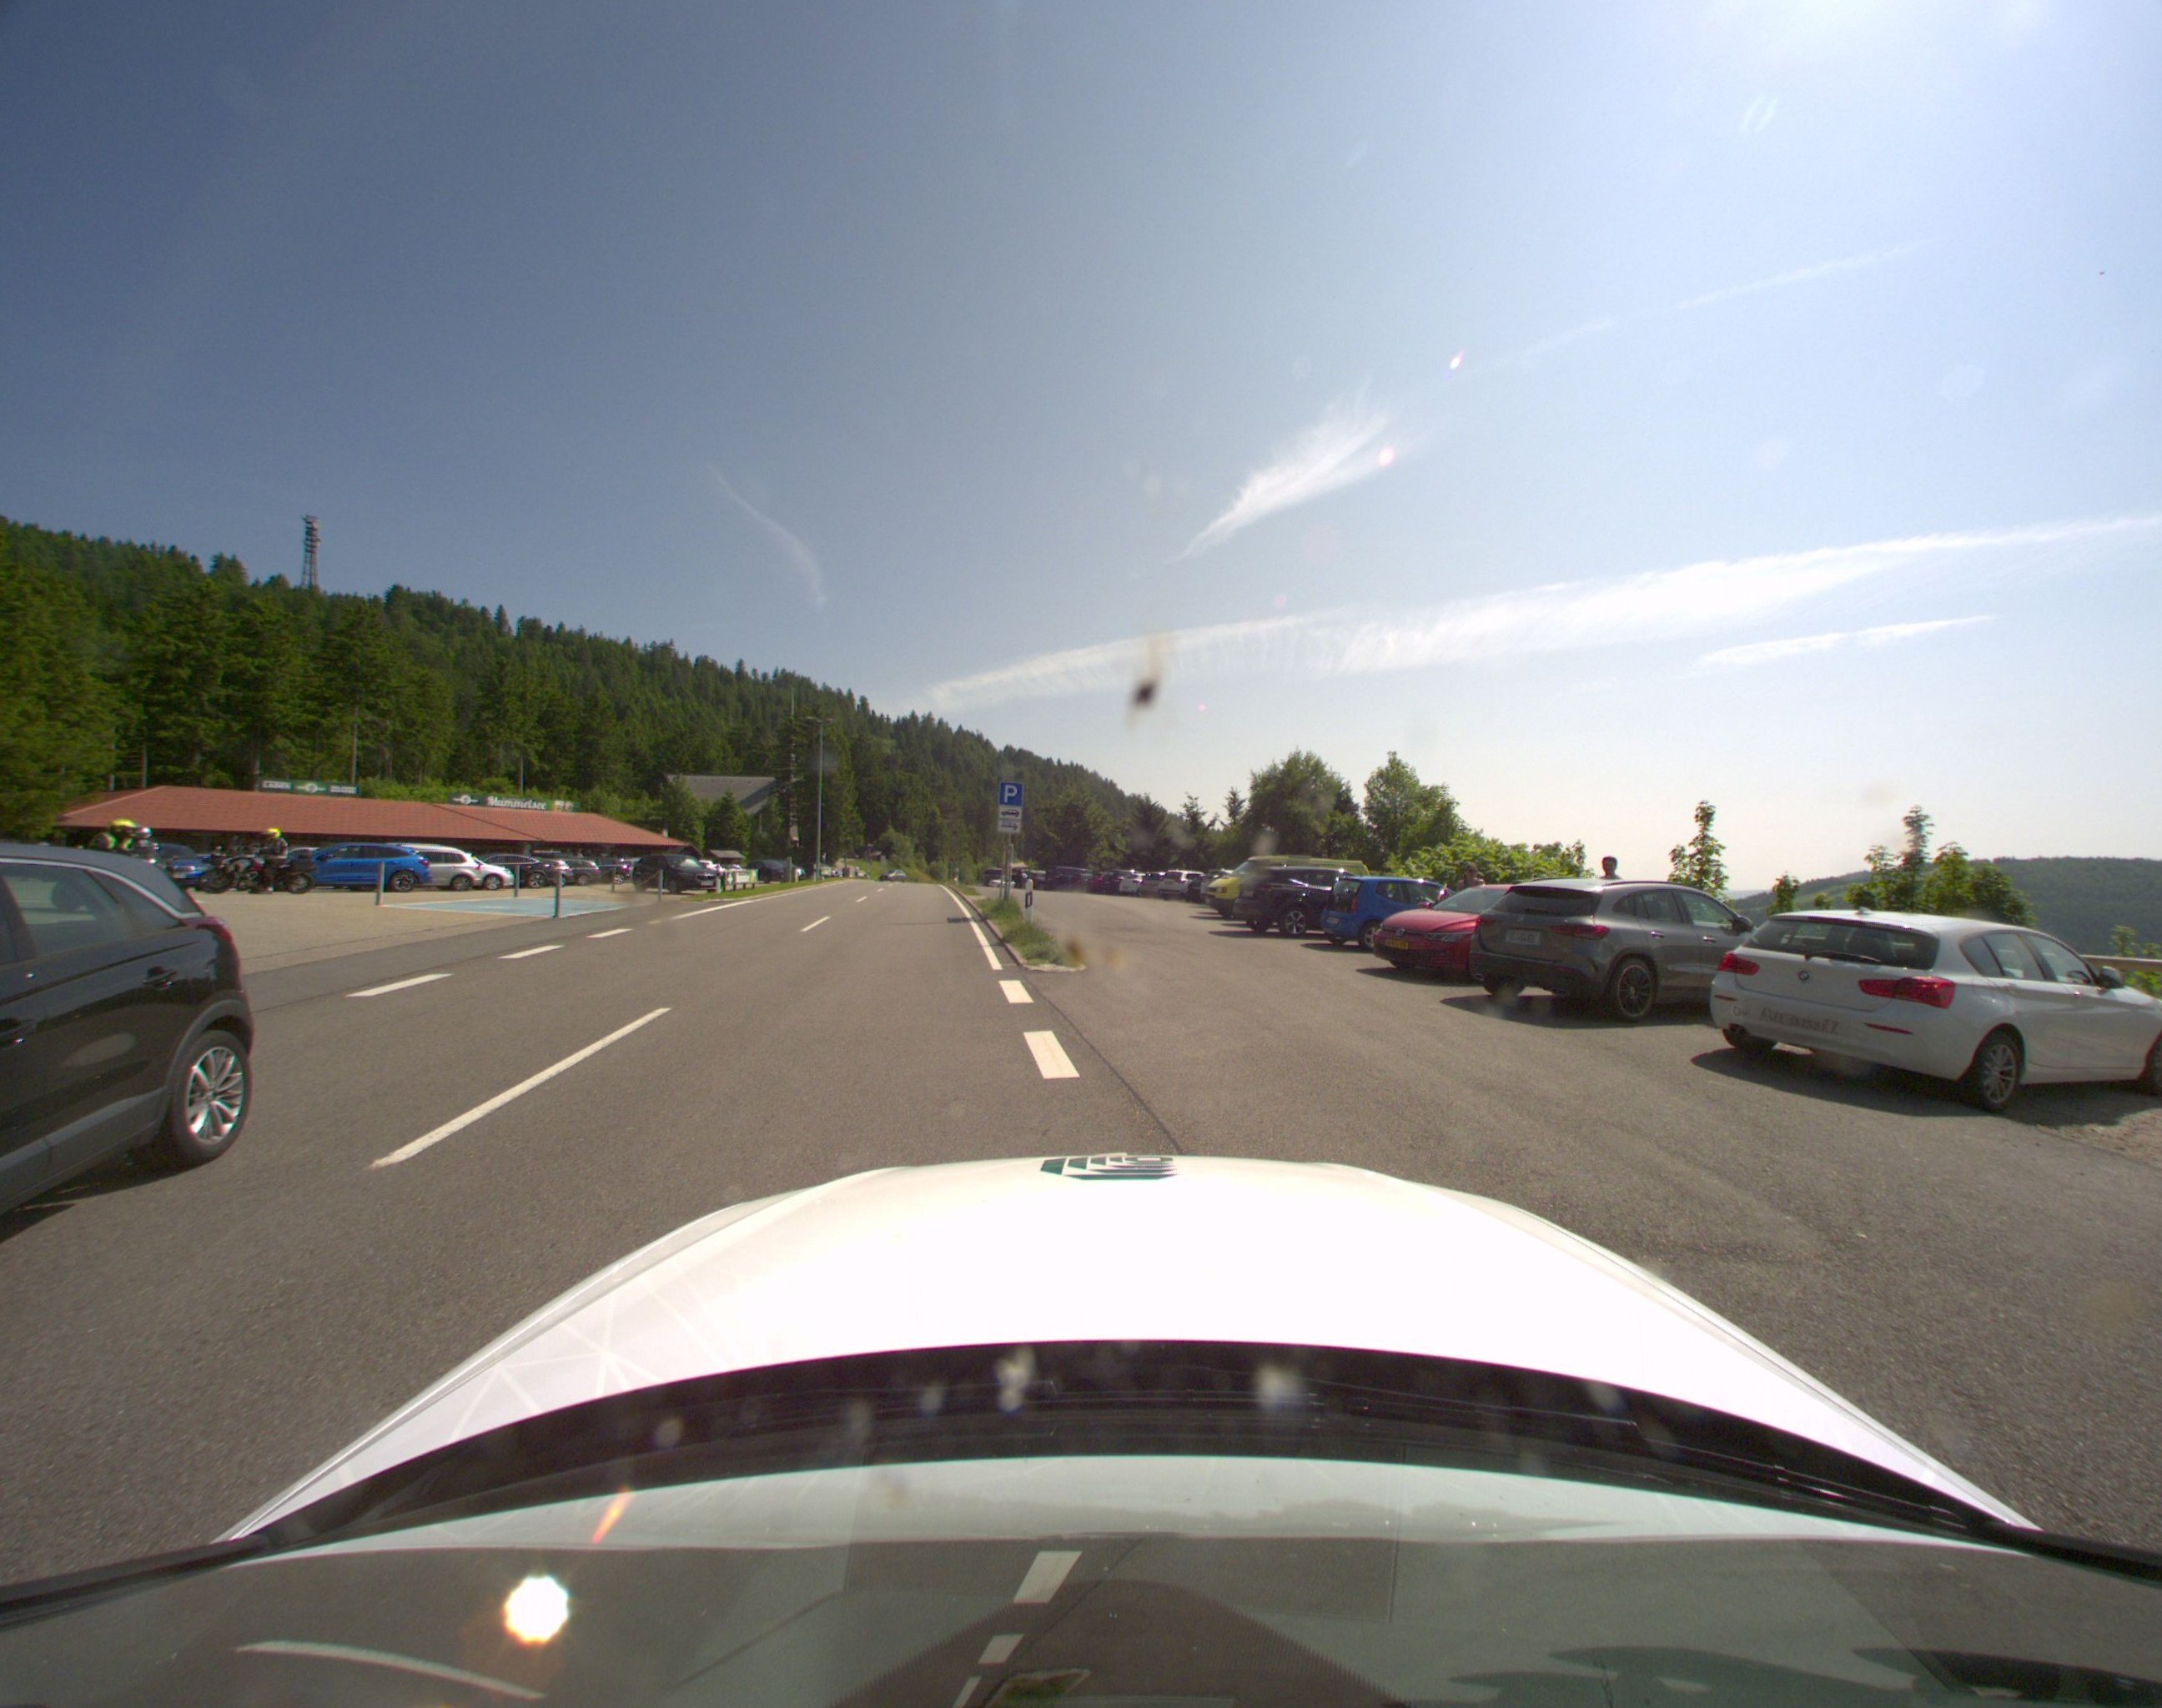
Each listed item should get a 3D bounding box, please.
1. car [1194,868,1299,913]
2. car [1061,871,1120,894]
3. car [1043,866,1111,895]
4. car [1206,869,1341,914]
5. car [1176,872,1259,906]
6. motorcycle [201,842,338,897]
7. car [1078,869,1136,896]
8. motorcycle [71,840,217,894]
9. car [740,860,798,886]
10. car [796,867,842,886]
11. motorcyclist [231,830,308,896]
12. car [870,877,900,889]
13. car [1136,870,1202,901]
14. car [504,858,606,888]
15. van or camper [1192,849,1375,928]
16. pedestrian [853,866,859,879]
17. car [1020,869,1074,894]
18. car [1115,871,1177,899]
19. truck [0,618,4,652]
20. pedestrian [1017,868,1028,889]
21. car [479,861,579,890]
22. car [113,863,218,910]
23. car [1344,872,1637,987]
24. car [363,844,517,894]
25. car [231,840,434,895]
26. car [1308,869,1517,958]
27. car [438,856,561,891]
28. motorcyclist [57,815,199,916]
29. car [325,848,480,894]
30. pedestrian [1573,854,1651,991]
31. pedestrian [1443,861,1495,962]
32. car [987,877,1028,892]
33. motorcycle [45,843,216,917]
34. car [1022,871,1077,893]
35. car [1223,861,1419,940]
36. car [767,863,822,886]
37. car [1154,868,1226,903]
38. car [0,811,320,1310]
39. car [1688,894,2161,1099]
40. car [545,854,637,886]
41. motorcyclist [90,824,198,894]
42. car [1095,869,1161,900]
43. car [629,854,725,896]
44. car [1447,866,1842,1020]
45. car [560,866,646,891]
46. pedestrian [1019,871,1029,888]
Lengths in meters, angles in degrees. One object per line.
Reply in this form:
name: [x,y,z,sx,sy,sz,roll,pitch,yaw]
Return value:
car: [7.133,1.575,34.965,4.197,1.650,1.874,5,-3,-30]
car: [0.732,2.072,59.324,4.017,1.415,1.725,6,-3,-38]
car: [-0.278,2.022,62.045,4.785,1.880,1.948,5,-3,-29]
car: [6.864,1.322,29.167,4.355,1.487,1.804,1,0,-14]
car: [7.031,1.807,41.732,4.070,1.461,1.873,6,-3,-39]
motorcycle: [-22.043,0.444,22.185,0.993,1.407,2.460,-1,-3,36]
car: [1.859,2.033,57.056,1.840,1.590,4.023,2,-3,42]
motorcycle: [-24.858,0.384,21.685,0.870,1.257,2.284,1,-5,14]
car: [-20.114,1.215,52.413,3.949,1.552,1.794,0,-1,41]
car: [-24.969,2.135,77.557,4.157,1.634,1.800,0,-3,29]
motorcyclist: [-22.061,0.273,22.148,1.051,1.720,1.256,-1,-3,36]
car: [-24.458,3.604,101.709,1.565,1.429,3.393,0,0,33]
car: [5.258,1.894,48.495,1.797,1.549,4.023,2,-3,42]
car: [-27.266,0.975,42.327,1.694,1.486,4.105,0,0,35]
van or camper: [6.242,1.048,25.331,5.087,2.014,1.877,4,-1,-8]
pedestrian: [-29.555,2.468,106.976,0.654,1.667,0.639,2,-4,-17]
car: [-2.821,2.286,67.961,4.017,1.662,1.978,9,-5,-37]
car: [4.128,1.954,51.567,1.745,1.476,4.023,2,-3,42]
truck: [-16.785,-1.245,6.759,3.032,3.972,8.822,3,-2,28]
pedestrian: [-4.919,2.055,68.392,0.574,1.761,0.636,3,-4,21]
car: [-26.615,1.003,39.344,1.567,1.321,3.662,0,0,33]
car: [-27.884,0.936,24.777,3.948,1.297,1.724,0,-1,36]
car: [6.395,1.164,12.776,3.999,1.510,1.830,4,-1,-20]
car: [-25.669,0.576,32.767,1.812,1.863,4.559,0,-1,37]
car: [-24.607,0.471,26.950,1.915,1.664,4.573,0,-2,34]
car: [6.719,1.192,16.666,3.580,1.496,1.643,4,-1,-10]
car: [-25.721,0.832,36.156,1.889,1.430,4.025,0,0,34]
motorcyclist: [-16.693,0.199,14.294,1.281,1.675,1.031,2,-1,9]
car: [-25.044,0.602,30.192,1.974,1.546,4.025,0,0,36]
pedestrian: [7.725,0.979,11.857,0.607,1.900,0.678,4,-2,-4]
pedestrian: [6.797,0.996,14.271,0.505,1.725,0.563,5,-2,-23]
car: [-8.641,3.648,96.389,4.476,1.299,1.568,7,-3,-27]
motorcycle: [-16.689,0.445,14.323,2.266,1.177,0.826,2,-1,8]
car: [-2.509,2.218,65.103,4.012,1.443,1.821,6,-3,-32]
car: [5.600,1.075,19.172,3.994,1.614,1.906,3,-1,-16]
car: [-21.020,1.469,59.706,4.007,1.568,1.751,0,-2,35]
car: [6.085,1.750,45.159,1.840,1.695,4.251,2,-3,42]
car: [-4.492,0.702,2.373,1.989,1.616,4.117,-2,1,-24]
car: [7.680,1.185,7.300,4.000,1.386,1.646,4,-1,-20]
car: [-27.342,0.893,45.500,1.803,1.704,4.025,0,-1,40]
motorcyclist: [-24.902,0.149,21.677,0.916,1.718,1.457,1,-5,14]
car: [3.144,2.007,53.499,1.966,1.695,4.298,2,-3,42]
car: [-16.329,0.809,32.879,4.138,1.540,1.819,0,-1,38]
car: [7.052,1.085,10.218,4.412,1.568,1.894,4,-1,-21]
car: [-28.489,1.434,48.613,1.789,1.371,4.024,0,-1,42]
pedestrian: [-4.650,2.075,66.274,0.772,1.403,0.668,1,-1,-4]
